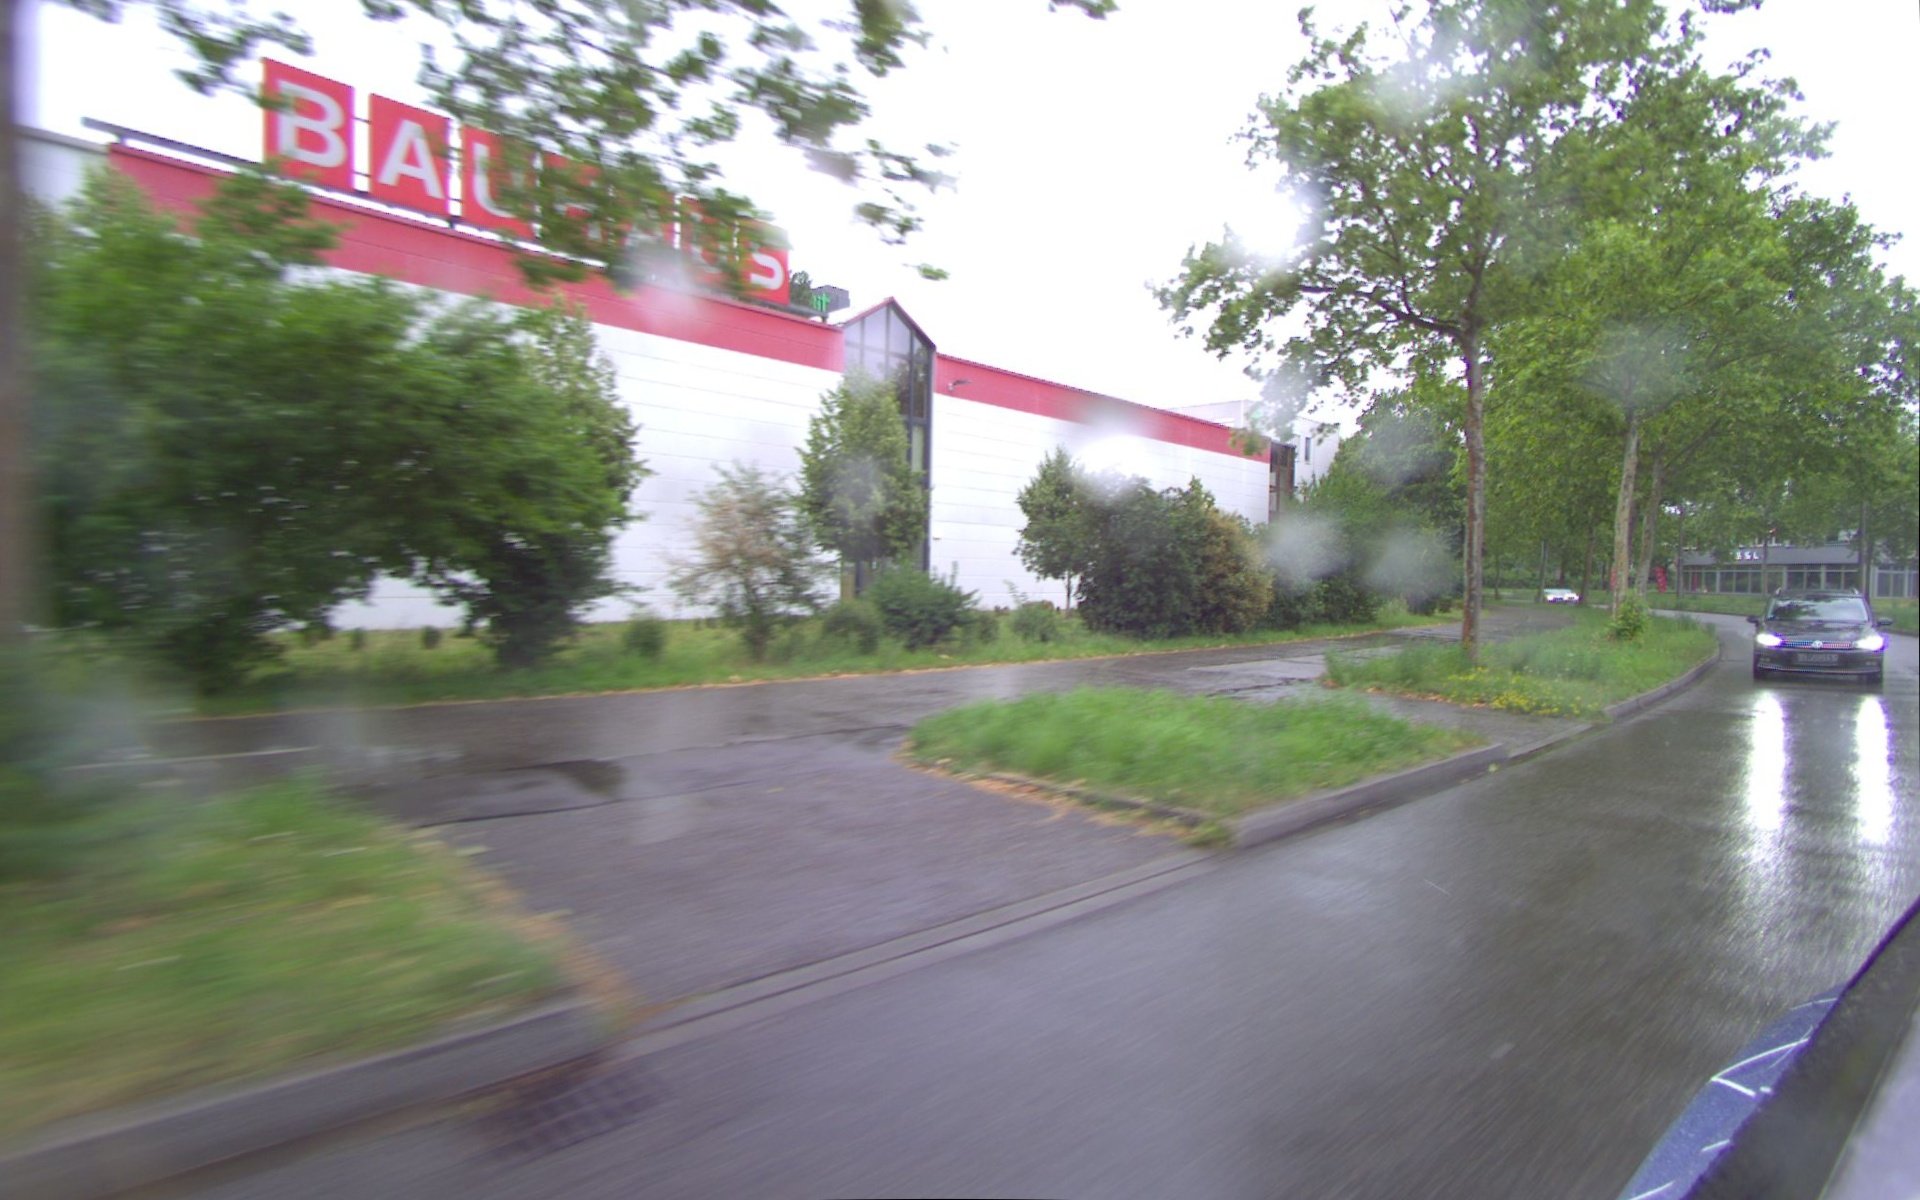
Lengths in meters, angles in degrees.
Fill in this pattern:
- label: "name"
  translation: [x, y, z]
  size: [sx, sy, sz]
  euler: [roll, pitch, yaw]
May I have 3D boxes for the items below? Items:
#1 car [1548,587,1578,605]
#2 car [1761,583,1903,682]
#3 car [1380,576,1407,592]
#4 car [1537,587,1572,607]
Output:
- label: "car"
  translation: [55.718, -0.378, 93.555]
  size: [1.765, 1.575, 3.971]
  euler: [1, 1, 22]
- label: "car"
  translation: [15.881, 0.492, 18.531]
  size: [1.777, 1.575, 3.943]
  euler: [2, 2, 40]
- label: "car"
  translation: [39.606, -1.474, 92.507]
  size: [1.588, 1.375, 3.661]
  euler: [1, 1, 35]
- label: "car"
  translation: [51.768, -0.285, 88.206]
  size: [1.762, 1.575, 3.977]
  euler: [1, 1, 18]
